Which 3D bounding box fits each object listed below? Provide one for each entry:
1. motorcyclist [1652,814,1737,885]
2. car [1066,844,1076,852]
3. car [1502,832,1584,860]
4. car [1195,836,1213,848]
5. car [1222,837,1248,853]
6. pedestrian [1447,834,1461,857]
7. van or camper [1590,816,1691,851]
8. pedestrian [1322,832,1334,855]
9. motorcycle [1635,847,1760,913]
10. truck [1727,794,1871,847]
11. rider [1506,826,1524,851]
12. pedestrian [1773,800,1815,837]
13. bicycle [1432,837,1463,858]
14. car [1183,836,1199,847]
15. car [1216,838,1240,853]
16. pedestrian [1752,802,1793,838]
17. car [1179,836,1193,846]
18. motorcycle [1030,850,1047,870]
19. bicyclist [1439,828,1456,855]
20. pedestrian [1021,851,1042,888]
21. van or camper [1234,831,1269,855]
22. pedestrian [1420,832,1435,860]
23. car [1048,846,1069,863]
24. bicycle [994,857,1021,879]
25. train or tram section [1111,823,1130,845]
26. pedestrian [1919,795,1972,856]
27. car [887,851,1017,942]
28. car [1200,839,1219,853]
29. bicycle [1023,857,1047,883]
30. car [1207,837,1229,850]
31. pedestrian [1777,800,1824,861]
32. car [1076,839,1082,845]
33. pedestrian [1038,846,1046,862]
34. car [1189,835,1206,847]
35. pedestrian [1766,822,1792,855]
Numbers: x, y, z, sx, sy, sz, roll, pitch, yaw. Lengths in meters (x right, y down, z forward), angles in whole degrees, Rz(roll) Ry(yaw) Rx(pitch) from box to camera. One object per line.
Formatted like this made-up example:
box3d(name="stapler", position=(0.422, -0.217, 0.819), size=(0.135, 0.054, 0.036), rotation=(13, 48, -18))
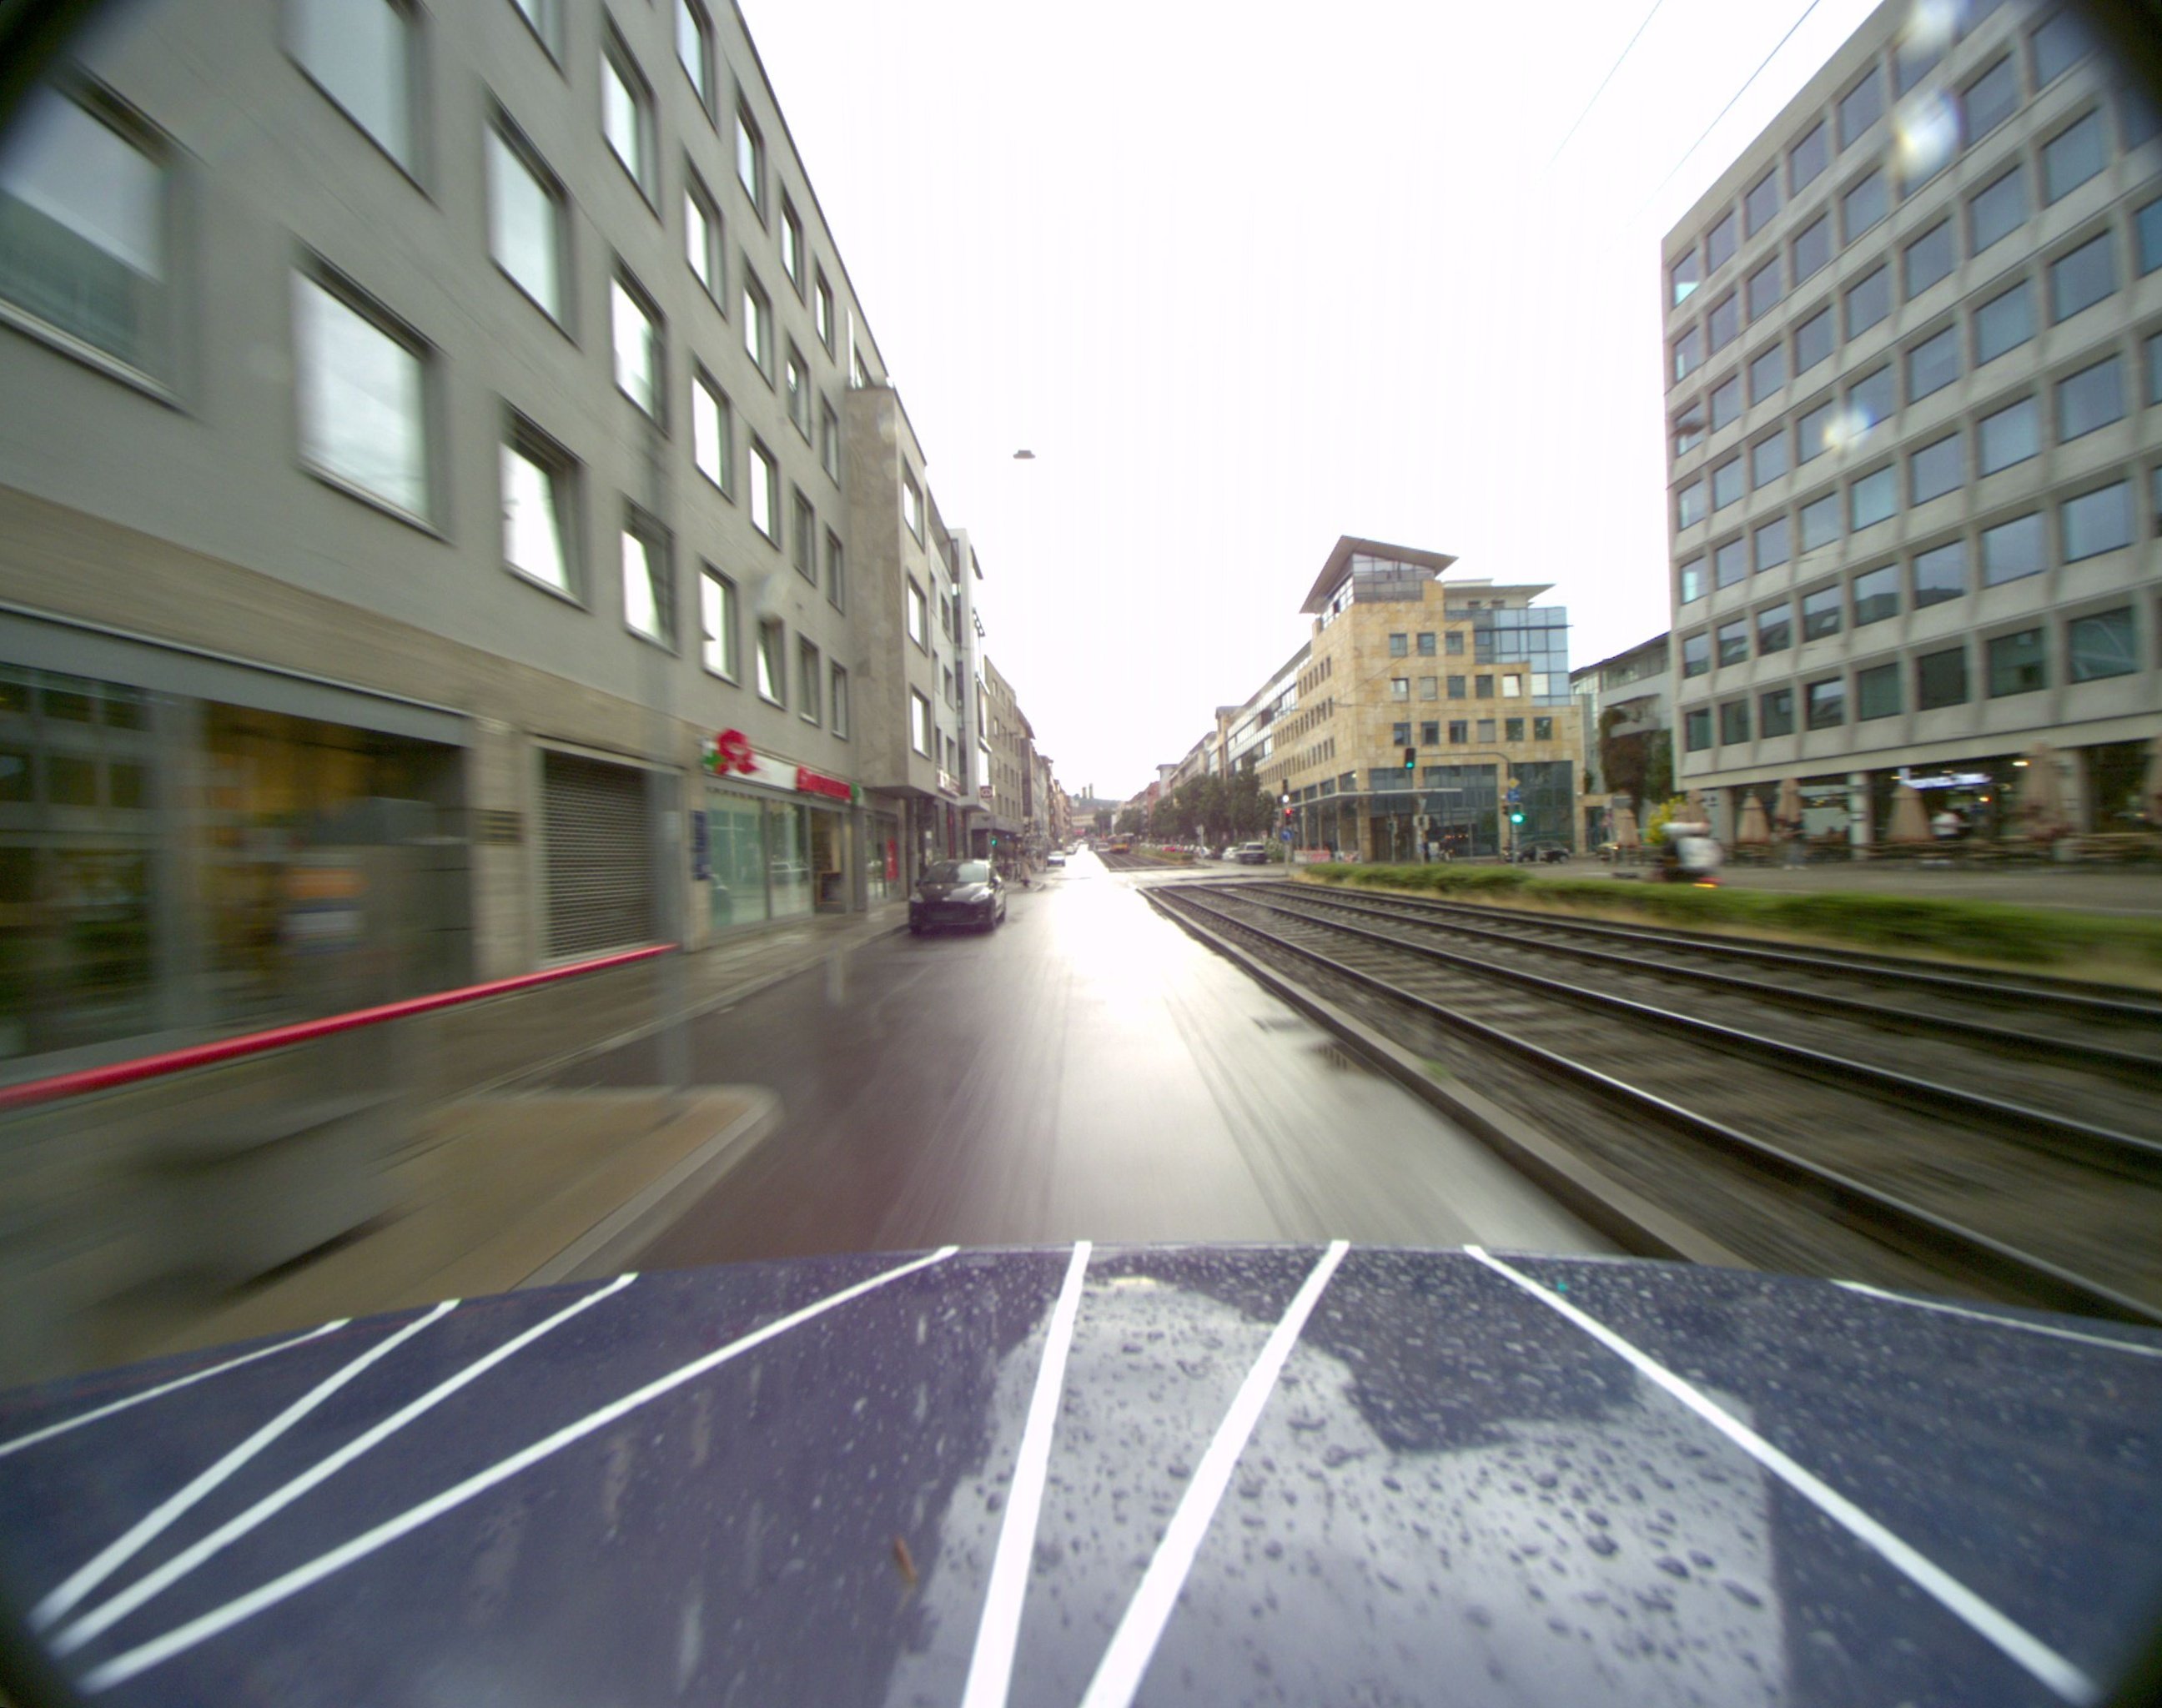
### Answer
box3d(name="motorcyclist", position=(11.104, -0.089, 13.780), size=(0.743, 1.210, 0.970), rotation=(-3, 2, 2))
box3d(name="car", position=(-1.891, -1.113, 144.899), size=(1.653, 1.489, 4.066), rotation=(-2, 1, 1))
box3d(name="car", position=(29.133, -0.513, 47.967), size=(3.996, 1.521, 1.891), rotation=(-3, 1, 2))
box3d(name="car", position=(15.827, -1.532, 97.616), size=(1.653, 1.489, 4.292), rotation=(-2, 1, 1))
box3d(name="car", position=(15.539, -0.888, 76.974), size=(1.693, 1.477, 4.255), rotation=(-3, 1, -1))
box3d(name="pedestrian", position=(26.877, -0.633, 54.736), size=(0.580, 1.627, 0.703), rotation=(-4, 1, 1))
box3d(name="van or camper", position=(37.265, -1.345, 50.691), size=(5.095, 2.050, 2.096), rotation=(-3, 1, 0))
box3d(name="pedestrian", position=(20.015, -0.852, 61.578), size=(0.703, 1.804, 0.679), rotation=(-3, 1, 3))
box3d(name="motorcycle", position=(11.127, 0.429, 13.804), size=(0.744, 1.054, 1.931), rotation=(-3, 1, 2))
box3d(name="truck", position=(47.293, -2.175, 50.161), size=(7.167, 3.146, 2.461), rotation=(-3, 1, -1))
box3d(name="rider", position=(29.780, -1.033, 52.131), size=(0.710, 1.666, 0.784), rotation=(-3, 1, 0))
box3d(name="pedestrian", position=(31.154, -1.541, 33.228), size=(0.896, 1.524, 0.964), rotation=(-3, 1, -1))
box3d(name="bicycle", position=(24.997, -0.436, 51.872), size=(1.768, 1.303, 0.660), rotation=(-3, 1, 0))
box3d(name="car", position=(15.912, -1.796, 109.887), size=(1.653, 1.532, 4.620), rotation=(-2, 1, 1))
box3d(name="car", position=(15.979, -0.893, 82.692), size=(1.693, 1.477, 4.294), rotation=(-3, 1, -1))
box3d(name="pedestrian", position=(31.144, -1.521, 34.237), size=(0.964, 1.524, 0.897), rotation=(-3, 1, 1))
box3d(name="car", position=(15.960, -1.979, 115.596), size=(1.653, 1.532, 4.620), rotation=(-2, 1, 1))
box3d(name="motorcycle", position=(-3.308, 0.460, 59.125), size=(1.134, 1.453, 0.682), rotation=(-3, 2, -36))
box3d(name="bicyclist", position=(24.997, -0.828, 51.794), size=(0.710, 1.794, 0.784), rotation=(-3, 1, 0))
box3d(name="pedestrian", position=(-2.198, 0.676, 33.748), size=(0.662, 1.573, 0.778), rotation=(-3, 2, -21))
box3d(name="van or camper", position=(15.467, -1.008, 69.248), size=(2.022, 1.986, 5.195), rotation=(-3, 2, 1))
box3d(name="pedestrian", position=(22.505, -0.536, 49.374), size=(0.677, 1.771, 0.705), rotation=(-2, 1, 35))
box3d(name="car", position=(-2.301, 0.035, 78.395), size=(2.029, 1.585, 4.619), rotation=(-2, 2, 0))
box3d(name="bicycle", position=(-4.150, 0.795, 42.721), size=(0.579, 1.151, 1.951), rotation=(-4, 2, -36))
box3d(name="train or tram section", position=(7.843, -4.043, 153.284), size=(2.909, 4.028, 18.761), rotation=(-2, 2, 1))
box3d(name="pedestrian", position=(25.648, -0.832, 22.546), size=(0.566, 1.738, 0.844), rotation=(-3, 1, -4))
box3d(name="car", position=(-2.643, 0.801, 16.675), size=(1.998, 1.585, 4.270), rotation=(-2, 2, 1))
box3d(name="car", position=(15.618, -0.985, 92.298), size=(1.653, 1.489, 4.191), rotation=(-2, 1, 1))
box3d(name="bicycle", position=(-2.360, 0.777, 38.483), size=(0.499, 1.252, 1.952), rotation=(-4, 2, -24))
box3d(name="car", position=(15.707, -1.202, 87.249), size=(1.693, 1.477, 3.999), rotation=(-3, 1, -1))
box3d(name="pedestrian", position=(21.913, -0.714, 23.143), size=(0.566, 1.812, 0.844), rotation=(-3, 1, -4))
box3d(name="car", position=(-0.687, -3.757, 233.759), size=(1.653, 1.584, 4.066), rotation=(-2, 1, 1))
box3d(name="pedestrian", position=(-4.305, -0.024, 84.310), size=(0.793, 1.650, 0.721), rotation=(-3, 2, 0))
box3d(name="car", position=(15.757, -1.775, 103.210), size=(1.653, 1.592, 4.292), rotation=(-2, 1, 1))
box3d(name="pedestrian", position=(28.994, -0.640, 31.573), size=(0.523, 1.314, 0.553), rotation=(-3, 2, 1))
